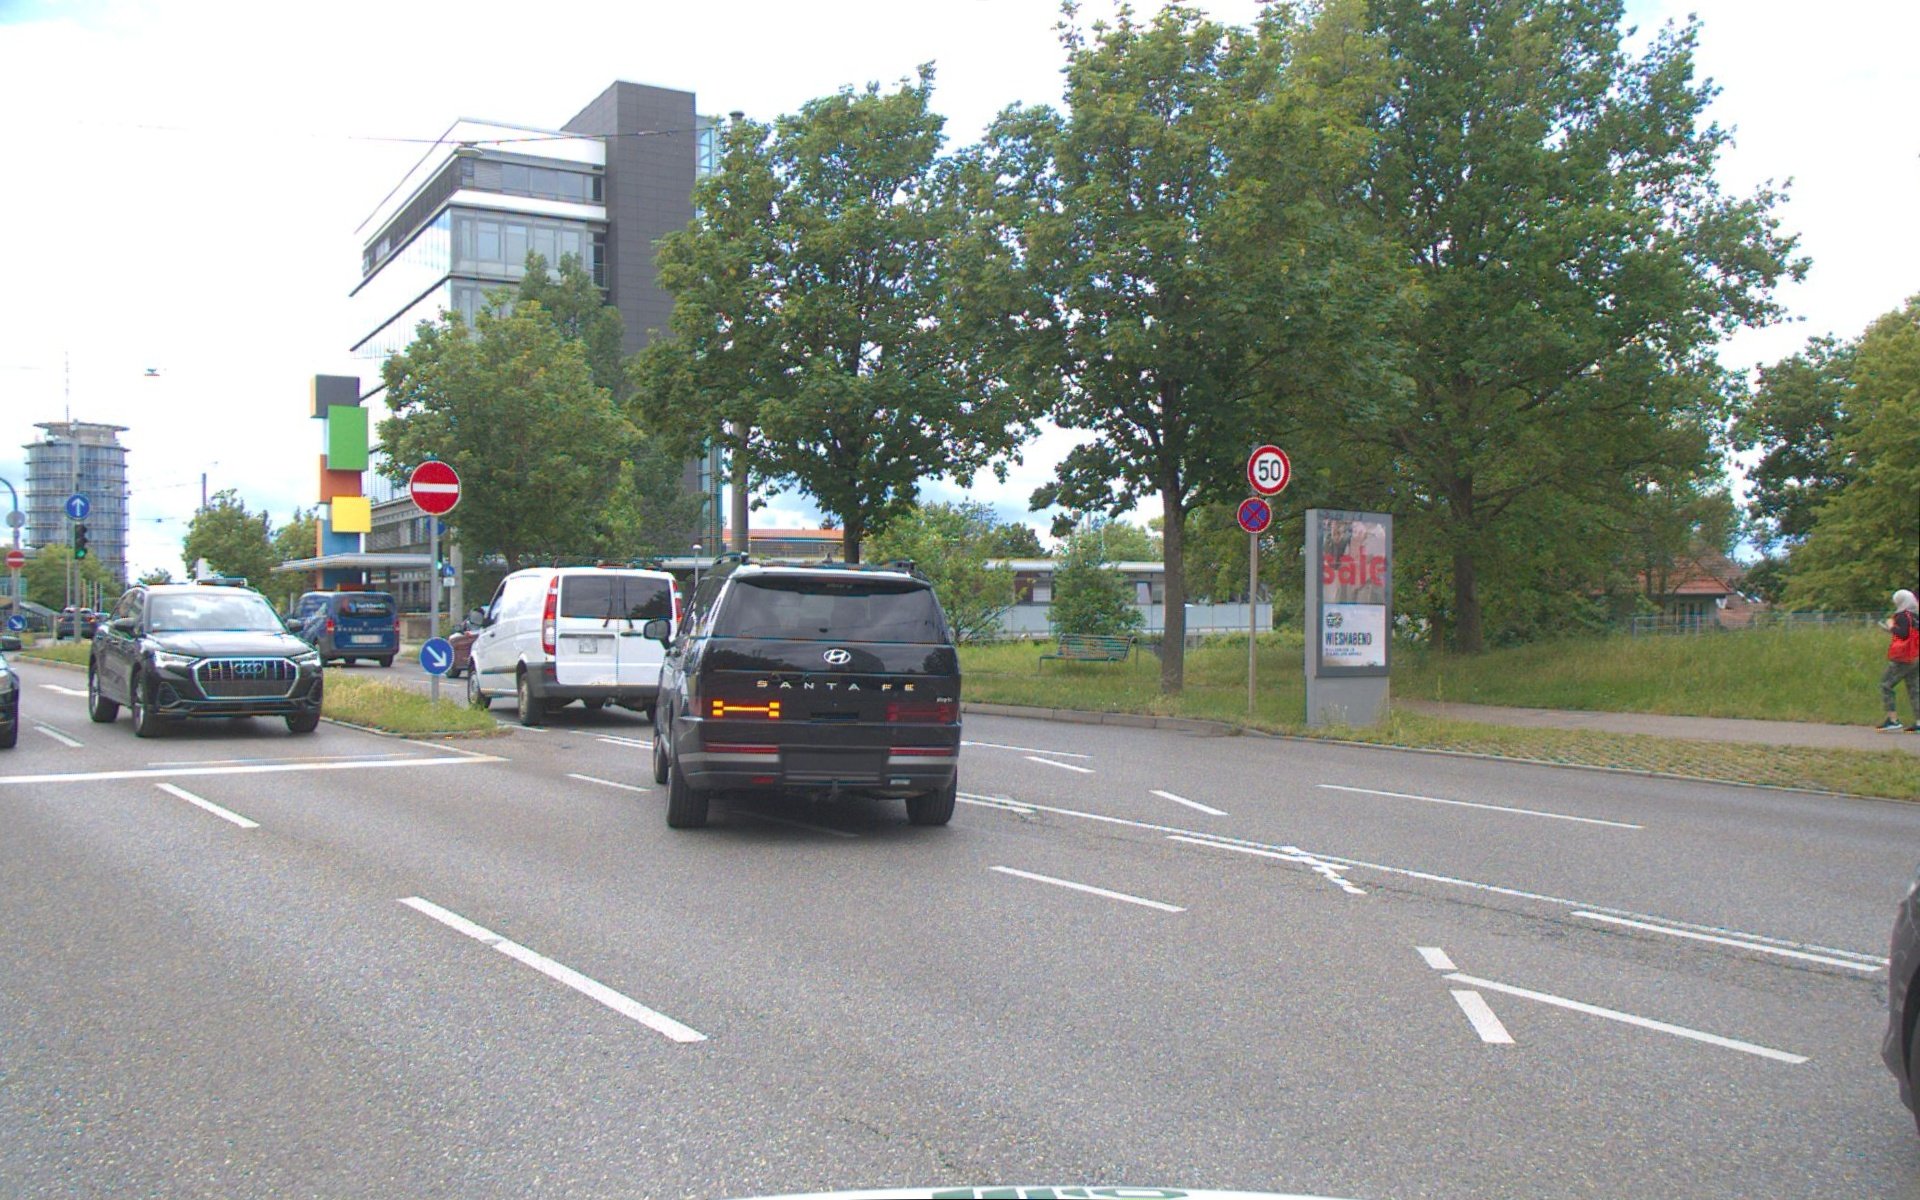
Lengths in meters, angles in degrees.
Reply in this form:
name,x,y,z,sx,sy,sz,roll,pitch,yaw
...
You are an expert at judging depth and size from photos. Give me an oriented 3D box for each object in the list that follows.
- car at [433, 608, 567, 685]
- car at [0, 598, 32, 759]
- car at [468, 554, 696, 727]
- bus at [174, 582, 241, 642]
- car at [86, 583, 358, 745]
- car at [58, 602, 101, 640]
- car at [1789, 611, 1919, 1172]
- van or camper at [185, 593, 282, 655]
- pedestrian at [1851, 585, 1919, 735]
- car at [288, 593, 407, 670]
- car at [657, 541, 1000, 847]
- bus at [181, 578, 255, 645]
name,x,y,z,sx,sy,sz,roll,pitch,yaw
car,-9.734,0.943,34.845,1.728,1.507,3.677,1,-1,-32
car,-10.607,0.694,16.637,1.768,1.450,4.341,2,0,-35
car,-5.047,0.490,21.593,1.879,2.003,4.596,2,-1,-26
bus,-42.576,0.718,93.446,2.918,3.166,9.885,-1,0,-27
car,-8.466,0.637,18.761,1.874,1.592,4.338,2,0,-37
car,-46.070,1.092,86.492,1.881,1.891,4.664,2,-1,-29
car,3.357,0.776,3.072,1.666,1.486,4.062,1,-1,1
van or camper,-24.528,0.789,55.762,1.979,1.951,4.349,1,0,-38
pedestrian,10.609,0.660,18.768,0.537,1.631,0.693,-5,4,-36
car,-15.995,0.792,43.028,1.885,1.891,4.654,2,-1,-33
car,-1.149,0.573,11.904,1.869,1.762,4.432,1,-1,-12
bus,-38.230,0.618,85.082,2.932,3.171,9.159,-1,0,-27
